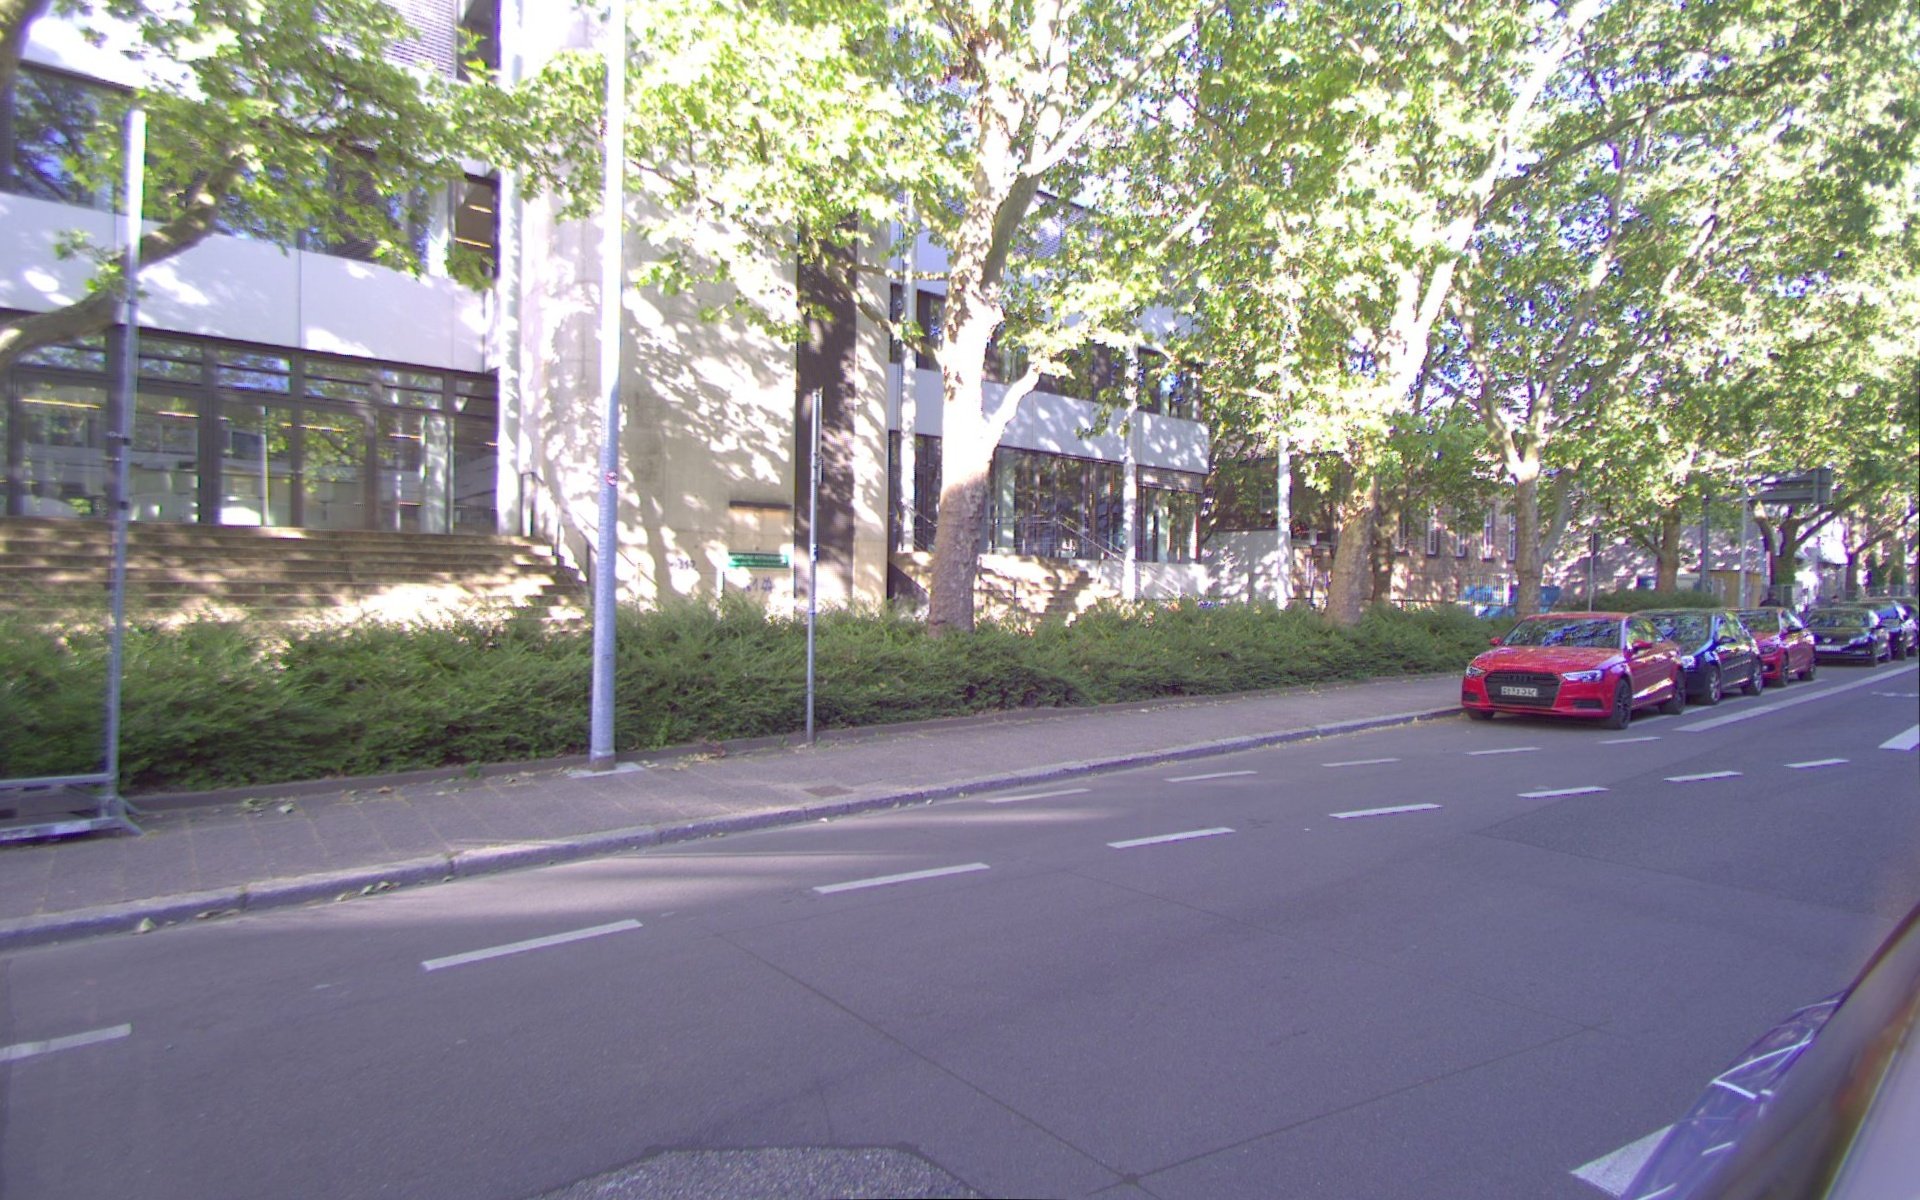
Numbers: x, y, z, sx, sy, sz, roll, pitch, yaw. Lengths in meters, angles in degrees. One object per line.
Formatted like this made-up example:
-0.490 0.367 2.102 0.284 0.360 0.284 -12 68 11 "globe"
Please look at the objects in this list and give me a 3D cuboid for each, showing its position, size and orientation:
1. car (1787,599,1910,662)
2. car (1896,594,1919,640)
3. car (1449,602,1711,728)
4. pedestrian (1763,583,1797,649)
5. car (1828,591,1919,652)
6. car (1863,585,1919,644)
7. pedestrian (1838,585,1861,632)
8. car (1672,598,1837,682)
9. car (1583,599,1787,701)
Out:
22.869 0.708 25.996 4.095 1.486 1.834 0 0 -41 "car"
35.907 0.586 37.105 4.183 1.634 1.834 0 0 -40 "car"
8.402 0.742 13.573 4.173 1.422 1.834 0 0 -41 "car"
23.736 0.456 29.283 0.629 1.884 0.660 0 0 -41 "pedestrian"
26.558 0.578 29.090 4.088 1.626 1.834 0 0 -40 "car"
31.044 0.444 32.980 4.383 1.820 1.834 0 0 -40 "car"
34.446 0.323 39.196 0.583 1.818 0.600 0 0 -41 "pedestrian"
15.837 0.714 20.104 4.095 1.486 1.834 0 0 -41 "car"
12.021 0.724 16.689 4.095 1.464 1.834 0 0 -41 "car"
